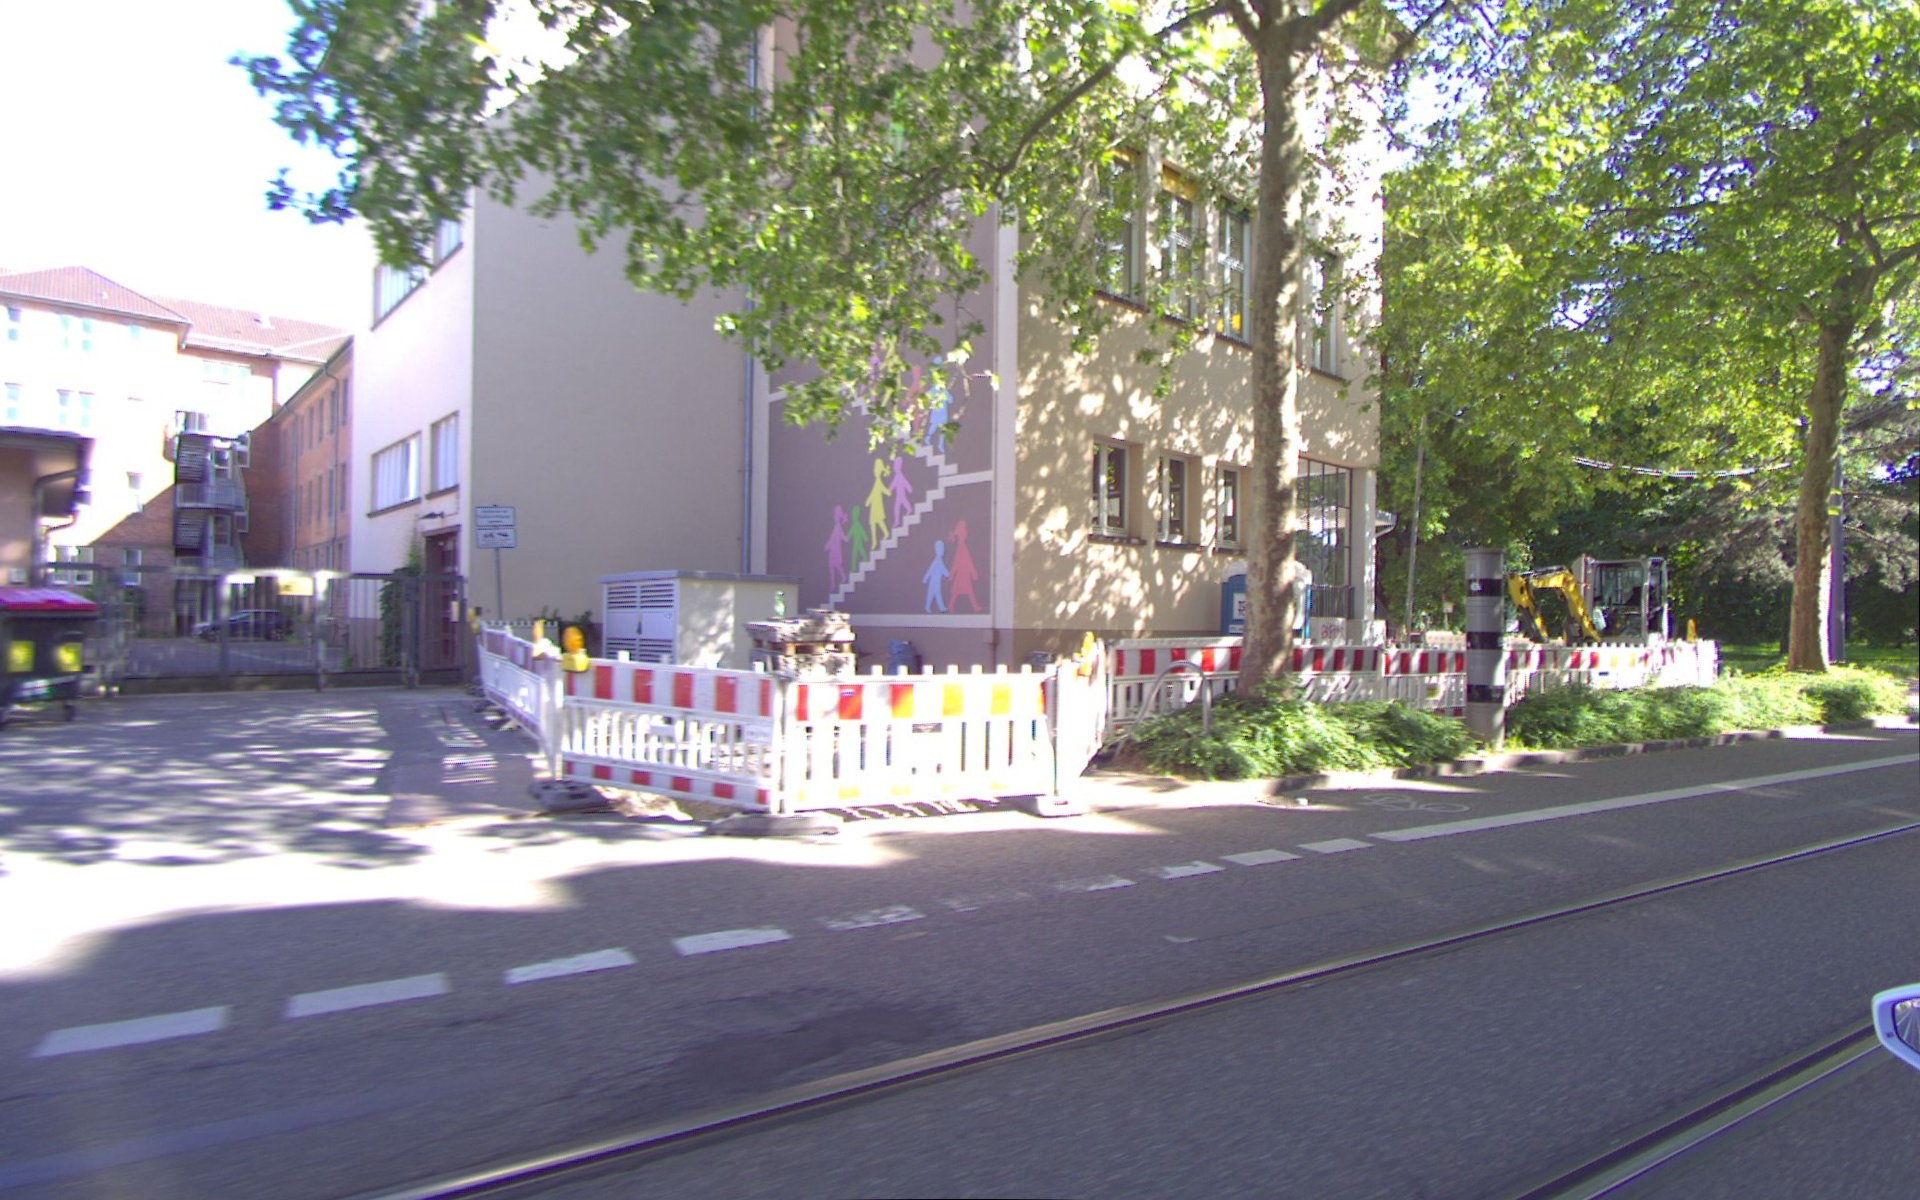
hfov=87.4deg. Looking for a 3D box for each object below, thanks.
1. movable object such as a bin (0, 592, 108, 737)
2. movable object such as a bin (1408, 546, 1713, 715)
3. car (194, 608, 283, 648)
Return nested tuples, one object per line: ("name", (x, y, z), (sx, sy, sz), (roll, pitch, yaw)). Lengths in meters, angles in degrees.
("movable object such as a bin", (-10.053, 0.645, 10.550), (1.265, 1.424, 1.136), (2, 0, -14))
("movable object such as a bin", (11.217, 0.521, 18.610), (5.925, 2.680, 2.480), (1, 0, -33))
("car", (-38.482, 1.501, 53.632), (3.779, 2.040, 1.849), (2, 0, -37))
